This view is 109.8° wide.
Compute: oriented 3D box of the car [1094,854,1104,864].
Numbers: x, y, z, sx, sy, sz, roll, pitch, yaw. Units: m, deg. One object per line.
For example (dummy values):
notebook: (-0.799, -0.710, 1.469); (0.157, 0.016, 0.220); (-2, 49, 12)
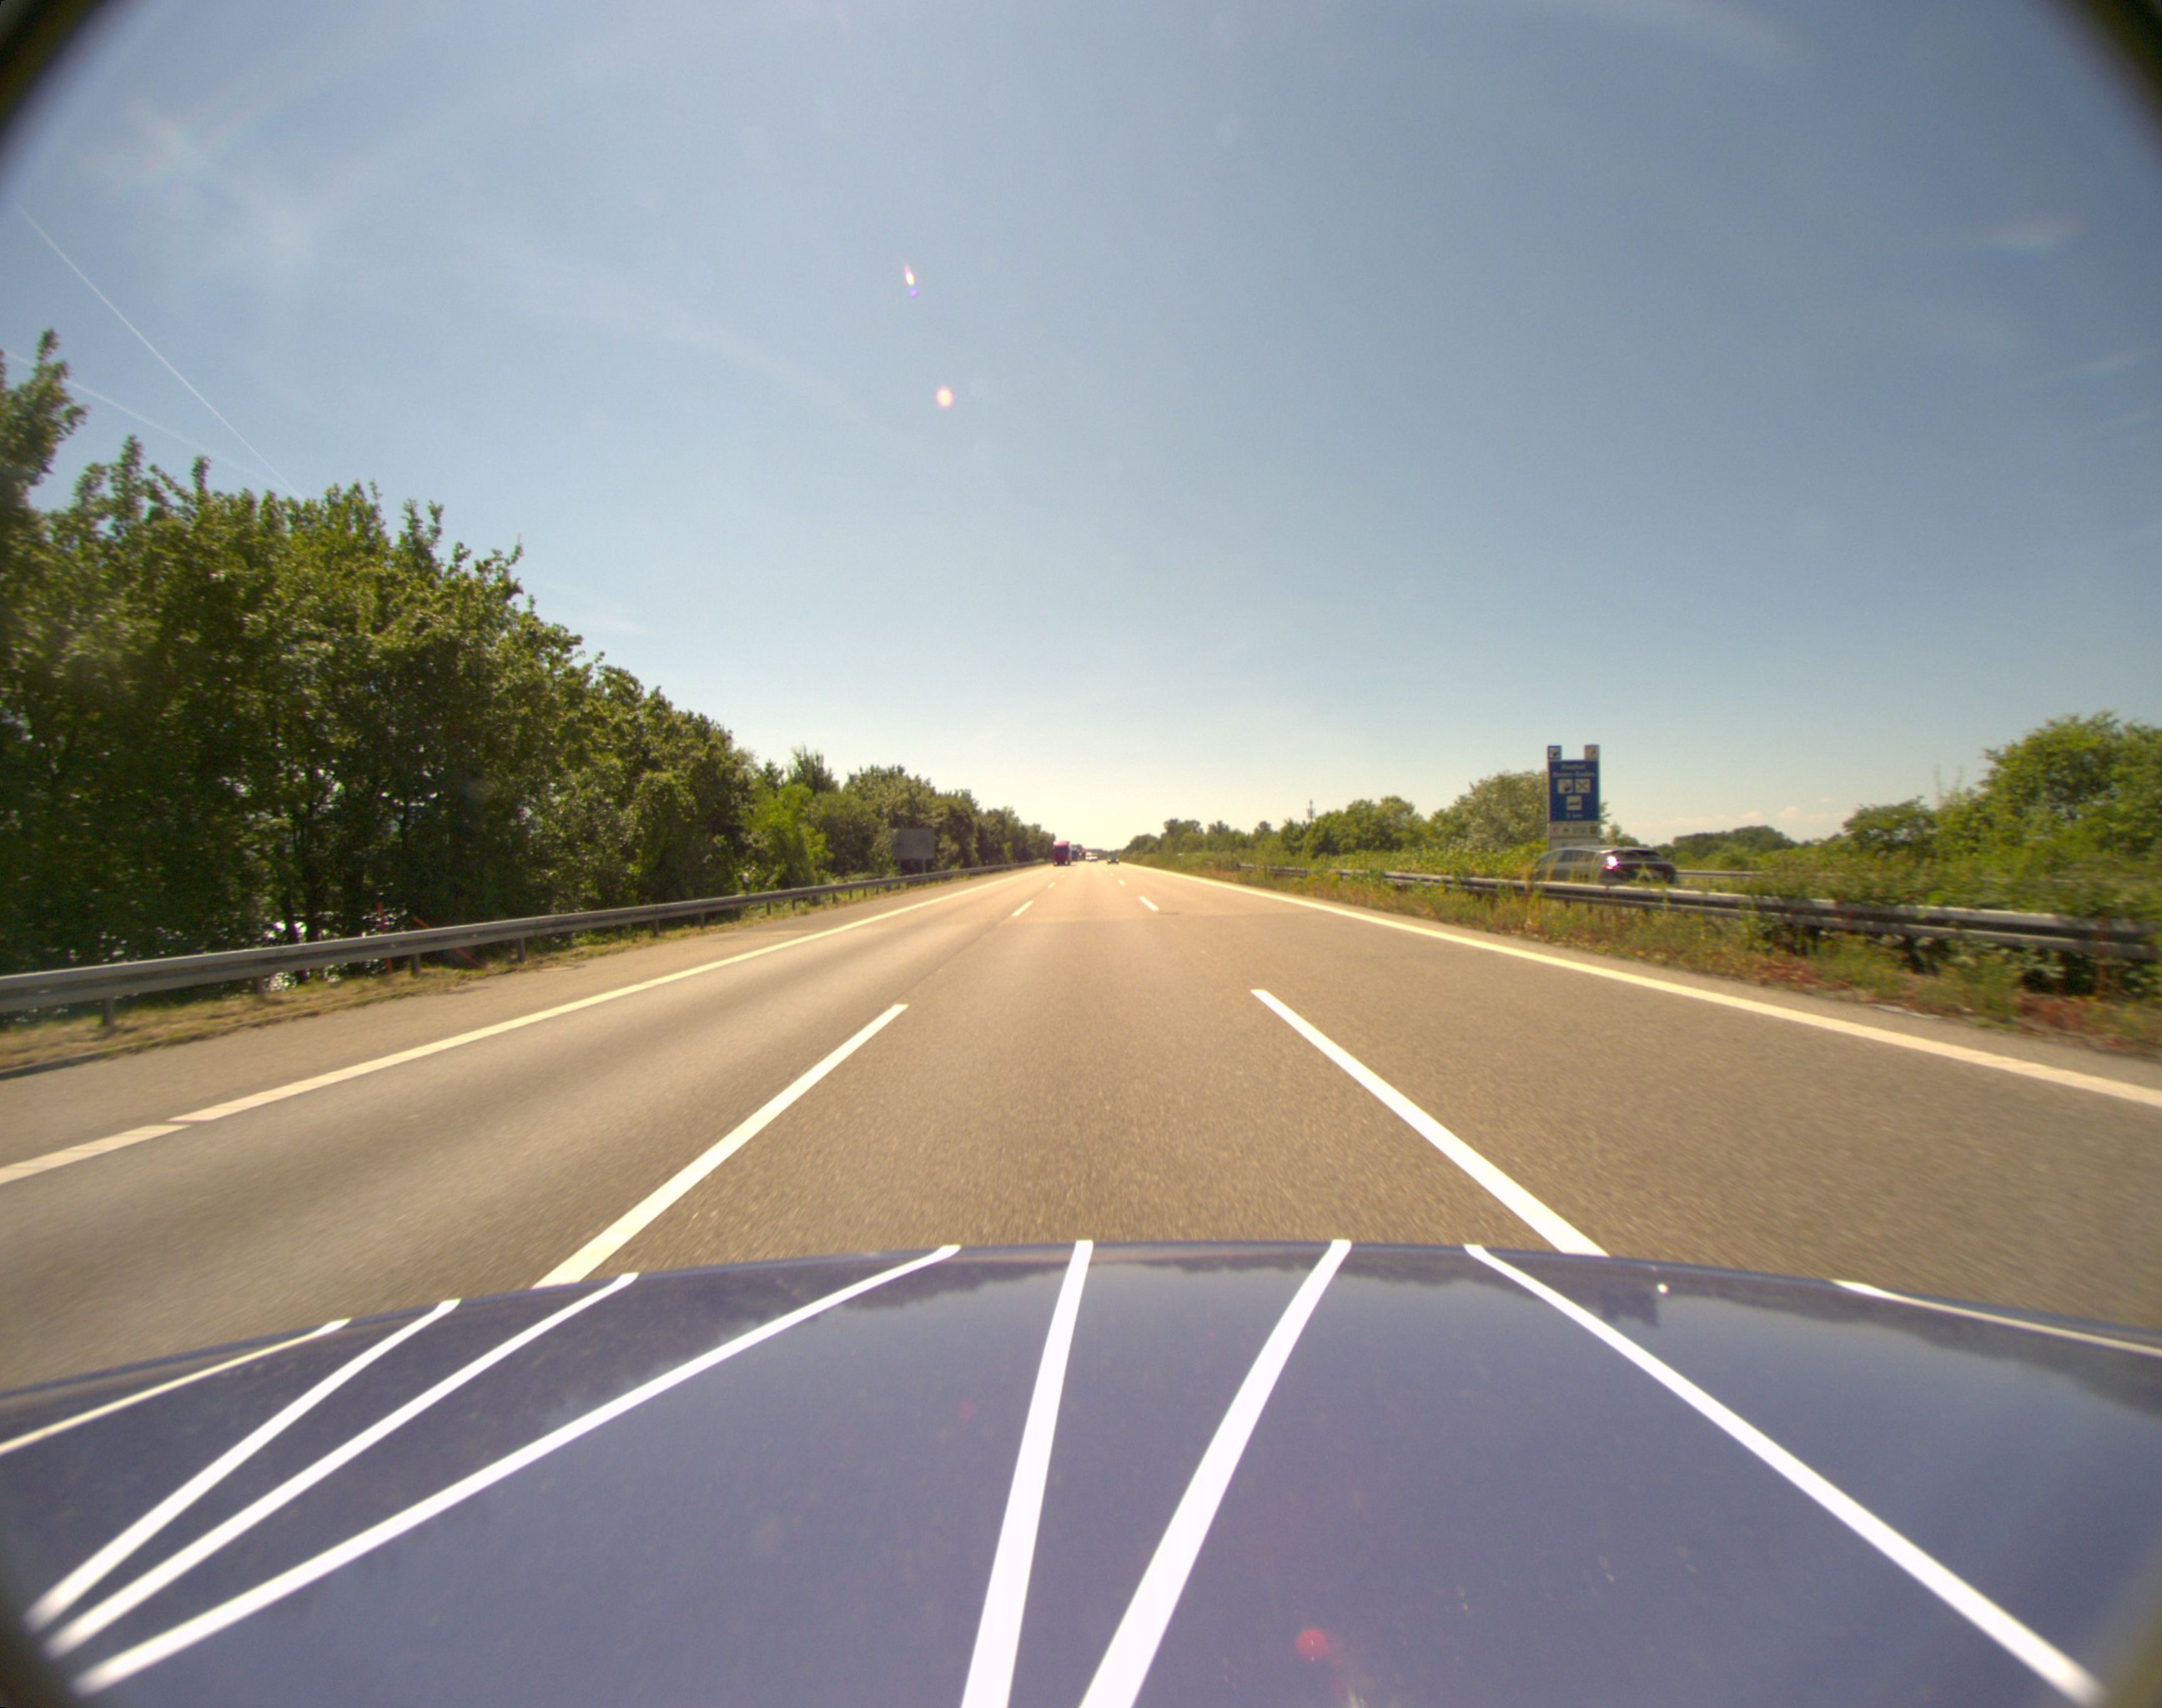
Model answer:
car: (4.078, 1.141, 170.844); (1.998, 2.002, 4.756); (-2, 0, 1)

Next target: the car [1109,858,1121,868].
car: (5.378, 1.426, 120.521); (1.736, 1.433, 4.000); (-2, 0, 1)

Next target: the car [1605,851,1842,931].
car: (13.182, 0.685, 15.945); (1.647, 1.394, 3.890); (-2, 0, 0)

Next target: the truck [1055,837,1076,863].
truck: (-2.528, -0.606, 125.099); (2.938, 3.933, 10.260); (-2, 0, 1)

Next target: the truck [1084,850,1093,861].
truck: (2.422, 0.602, 244.550); (2.726, 3.390, 9.770); (-2, 0, 1)

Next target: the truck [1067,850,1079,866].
truck: (-2.183, 1.176, 218.108); (2.938, 4.428, 10.260); (-2, 0, 1)
